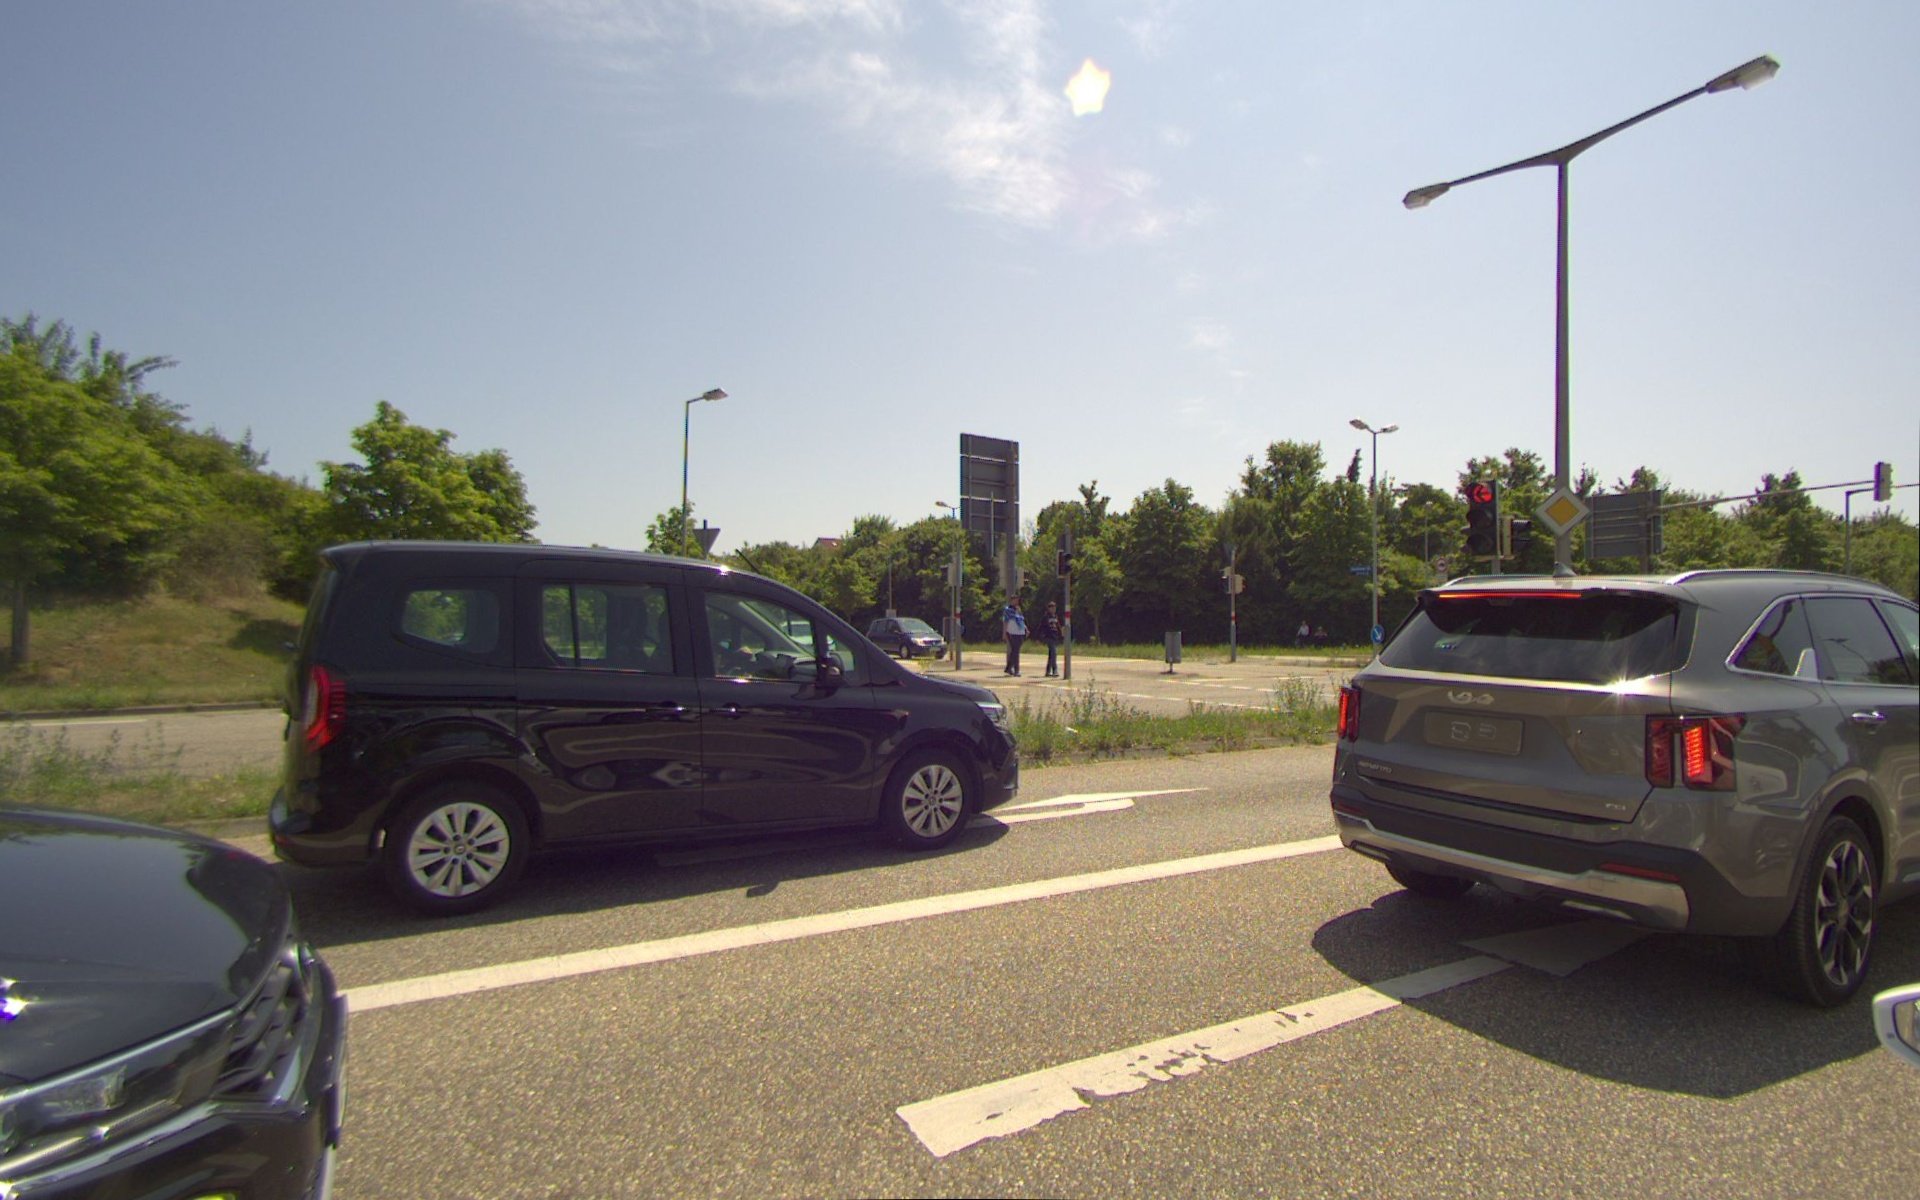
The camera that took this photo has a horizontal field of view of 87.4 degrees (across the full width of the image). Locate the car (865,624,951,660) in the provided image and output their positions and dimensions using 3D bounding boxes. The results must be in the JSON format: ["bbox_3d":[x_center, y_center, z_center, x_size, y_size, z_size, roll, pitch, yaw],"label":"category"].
[{"bbox_3d":[-2.114,1.633,39.723,1.685,1.353,3.964,1,-2,-33],"label":"car"}]

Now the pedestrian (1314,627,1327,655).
[{"bbox_3d":[19.914,2.236,55.451,0.606,1.523,0.798,0,-1,24],"label":"pedestrian"}]

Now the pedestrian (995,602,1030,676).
[{"bbox_3d":[1.269,0.939,24.201,0.777,1.759,0.583,0,-1,9],"label":"pedestrian"}]

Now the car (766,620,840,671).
[{"bbox_3d":[-5.336,1.482,33.764,1.849,1.522,4.294,-2,-1,-17],"label":"car"}]

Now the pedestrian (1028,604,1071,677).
[{"bbox_3d":[2.173,0.967,24.306,0.717,1.722,0.768,1,-1,-33],"label":"pedestrian"}]

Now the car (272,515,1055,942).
[{"bbox_3d":[-1.623,0.603,6.247,4.274,1.850,1.722,1,-1,-32],"label":"car"}]

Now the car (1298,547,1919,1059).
[{"bbox_3d":[4.061,0.732,5.263,4.590,1.684,1.795,1,-2,-31],"label":"car"}]

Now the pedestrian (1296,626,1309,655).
[{"bbox_3d":[19.047,2.245,55.903,0.606,1.624,0.798,-1,-1,24],"label":"pedestrian"}]

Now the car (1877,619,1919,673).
[{"bbox_3d":[31.674,1.454,32.420,4.168,1.685,1.701,1,-1,-27],"label":"car"}]

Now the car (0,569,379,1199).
[{"bbox_3d":[-2.948,0.675,1.123,3.924,1.532,1.726,2,0,-30],"label":"car"}]
